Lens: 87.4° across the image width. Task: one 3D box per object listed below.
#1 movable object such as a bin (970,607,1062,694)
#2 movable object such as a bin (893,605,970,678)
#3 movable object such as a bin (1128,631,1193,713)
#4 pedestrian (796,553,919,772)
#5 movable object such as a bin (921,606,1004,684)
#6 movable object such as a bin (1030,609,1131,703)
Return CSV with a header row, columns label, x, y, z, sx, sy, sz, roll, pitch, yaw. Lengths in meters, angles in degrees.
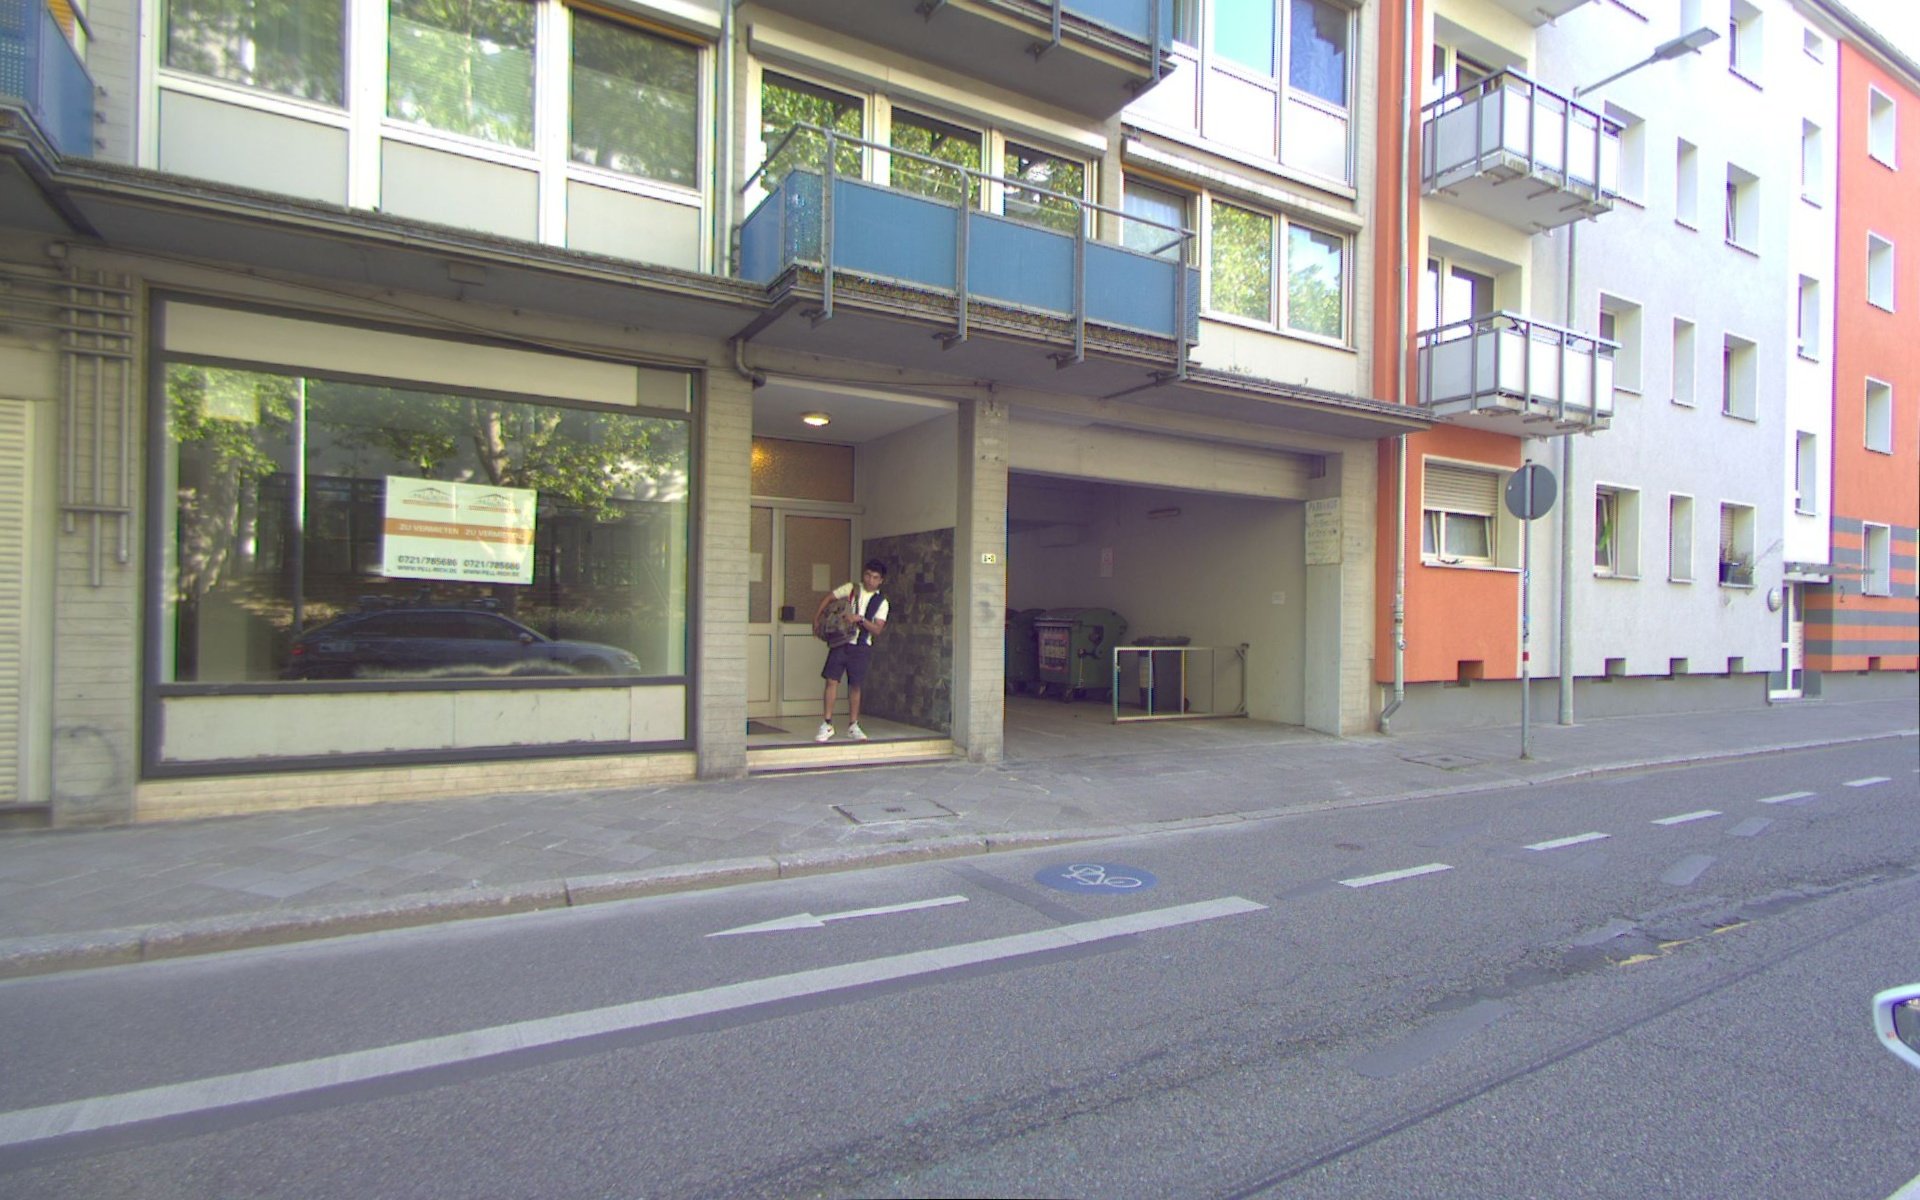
label,x,y,z,sx,sy,sz,roll,pitch,yaw
movable object such as a bin,0.941,0.840,17.124,1.066,1.384,1.255,2,0,-27
movable object such as a bin,-0.578,0.806,19.862,1.066,1.384,1.255,2,0,-27
movable object such as a bin,2.884,1.022,14.459,0.650,1.115,0.626,2,0,-27
pedestrian,-0.954,0.549,9.252,0.882,1.902,0.703,2,0,-28
movable object such as a bin,0.031,0.819,18.693,1.066,1.384,1.255,2,0,-27
movable object such as a bin,1.883,0.863,15.809,1.066,1.384,1.192,2,0,-27
